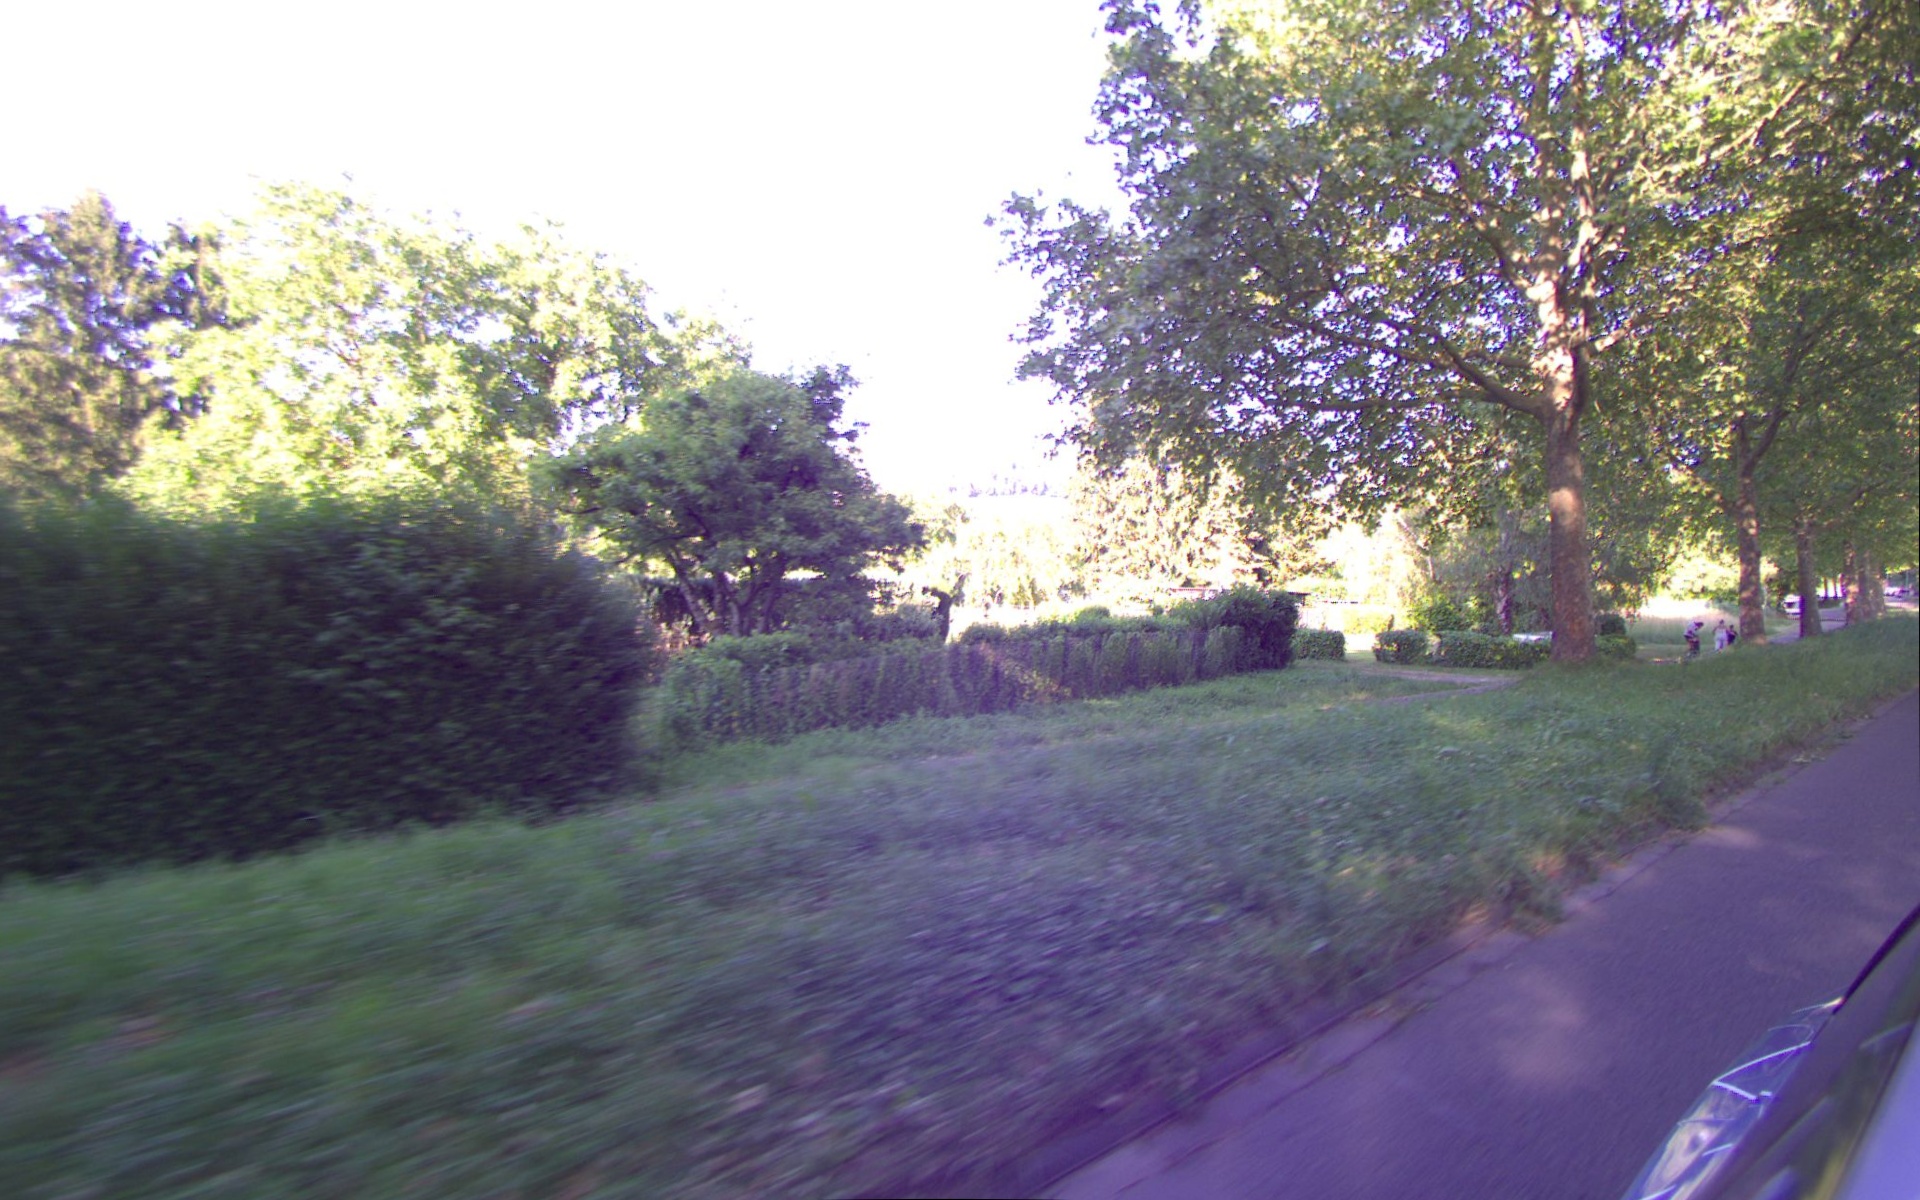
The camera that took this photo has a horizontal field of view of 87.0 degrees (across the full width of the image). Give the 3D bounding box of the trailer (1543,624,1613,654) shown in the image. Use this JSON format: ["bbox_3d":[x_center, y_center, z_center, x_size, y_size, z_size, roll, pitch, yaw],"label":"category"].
[{"bbox_3d":[24.442,1.522,40.040,1.179,1.065,2.122,-1,1,-39],"label":"trailer"}]

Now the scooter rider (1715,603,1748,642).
[{"bbox_3d":[33.018,0.953,43.311,0.827,1.596,0.786,-1,0,-14],"label":"scooter rider"}]

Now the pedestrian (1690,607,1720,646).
[{"bbox_3d":[30.910,1.083,41.983,0.836,1.596,0.778,0,0,25],"label":"pedestrian"}]

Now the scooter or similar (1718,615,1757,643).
[{"bbox_3d":[33.275,1.220,43.298,1.566,1.149,0.341,-1,0,-10],"label":"scooter or similar"}]

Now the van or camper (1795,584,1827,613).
[{"bbox_3d":[87.522,-0.181,104.040,2.379,2.835,5.599,0,1,42],"label":"van or camper"}]
